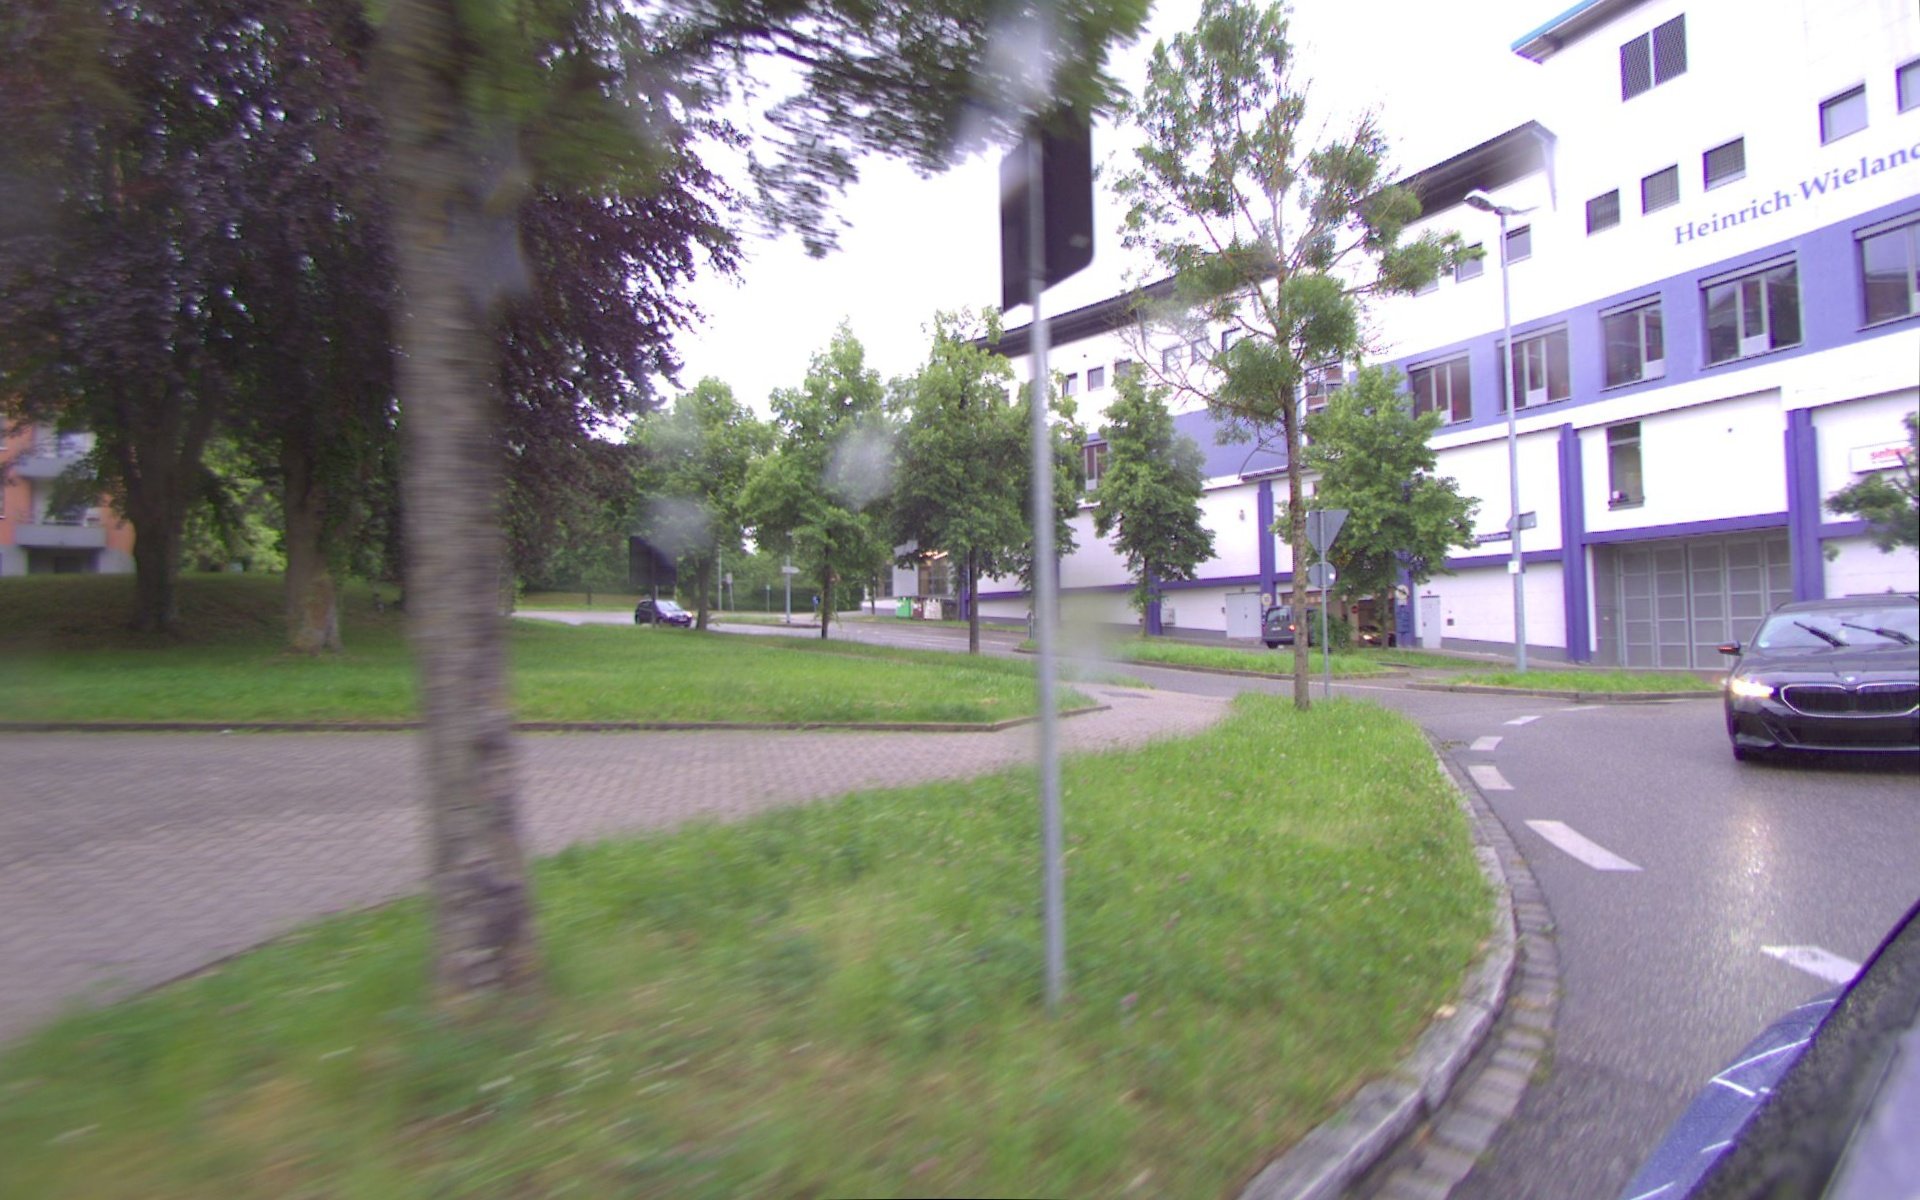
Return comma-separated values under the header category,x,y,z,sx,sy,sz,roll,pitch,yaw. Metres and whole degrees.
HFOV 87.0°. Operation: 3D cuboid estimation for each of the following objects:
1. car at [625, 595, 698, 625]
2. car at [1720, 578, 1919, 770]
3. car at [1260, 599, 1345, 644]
category,x,y,z,sx,sy,sz,roll,pitch,yaw
car,-15.652,0.506,53.022,3.564,1.459,1.613,1,0,28
car,8.839,0.643,10.077,1.833,1.514,4.837,-4,-3,36
car,14.624,0.907,43.105,3.726,1.824,1.920,2,-1,-44
